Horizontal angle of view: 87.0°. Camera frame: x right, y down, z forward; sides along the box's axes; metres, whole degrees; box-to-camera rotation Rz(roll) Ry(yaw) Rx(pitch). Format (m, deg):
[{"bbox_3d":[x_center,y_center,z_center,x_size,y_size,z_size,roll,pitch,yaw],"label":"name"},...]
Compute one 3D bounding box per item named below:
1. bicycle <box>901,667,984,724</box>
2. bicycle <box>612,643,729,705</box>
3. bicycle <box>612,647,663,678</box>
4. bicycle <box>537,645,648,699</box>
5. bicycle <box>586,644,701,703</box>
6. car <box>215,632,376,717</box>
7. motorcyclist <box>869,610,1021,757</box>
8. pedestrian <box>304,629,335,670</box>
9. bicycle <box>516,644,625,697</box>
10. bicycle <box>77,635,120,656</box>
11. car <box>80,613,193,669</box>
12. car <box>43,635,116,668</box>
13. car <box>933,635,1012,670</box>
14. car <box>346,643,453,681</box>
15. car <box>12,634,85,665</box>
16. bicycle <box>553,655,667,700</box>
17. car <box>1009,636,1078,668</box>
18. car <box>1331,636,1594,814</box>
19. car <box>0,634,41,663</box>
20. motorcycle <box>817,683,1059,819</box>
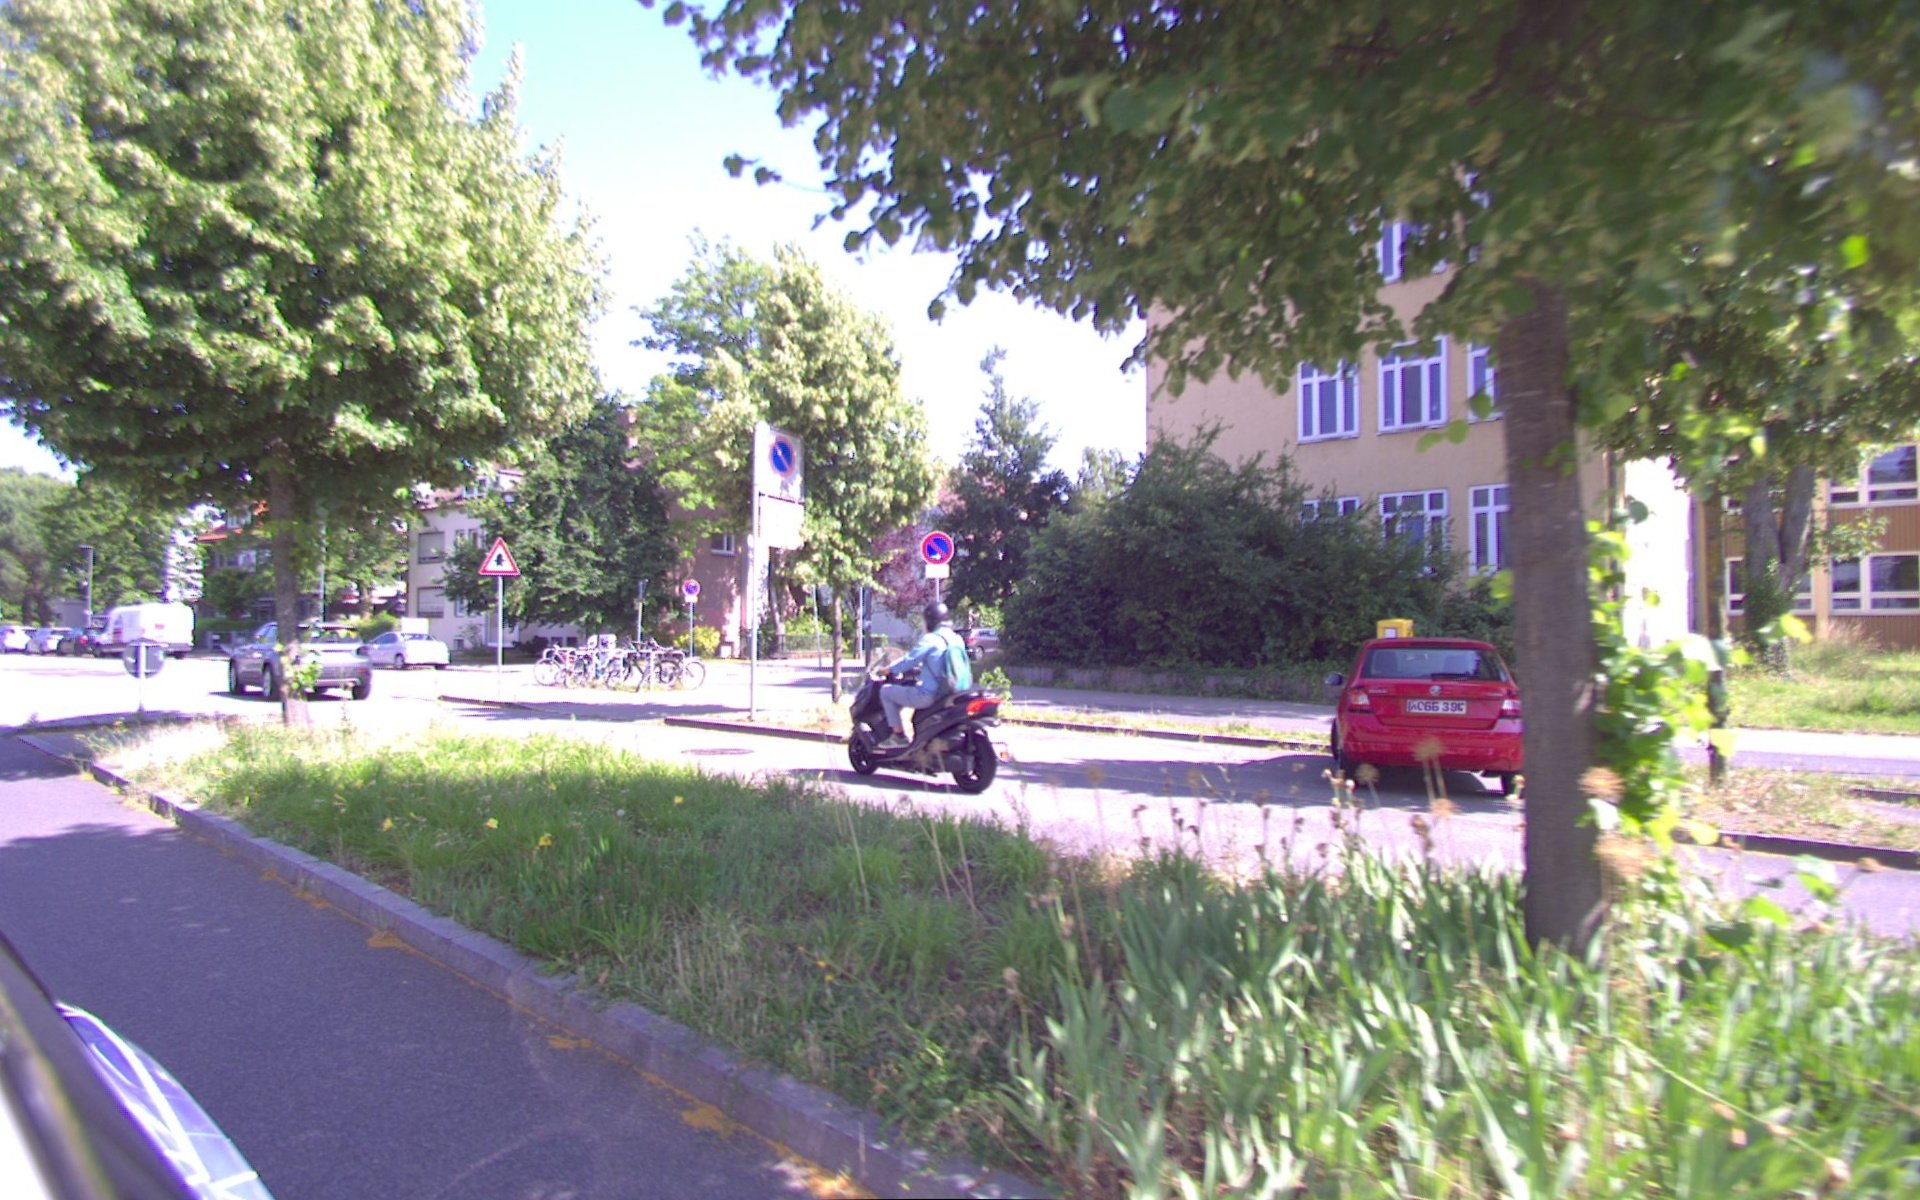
[{"bbox_3d":[-0.311,1.654,17.635,1.400,0.910,0.516,-1,-3,36],"label":"bicycle"},{"bbox_3d":[-6.304,1.590,22.198,0.738,1.266,2.520,-2,-3,38],"label":"bicycle"},{"bbox_3d":[-11.402,2.210,35.784,1.689,1.089,0.378,0,-3,-8],"label":"bicycle"},{"bbox_3d":[-8.911,1.737,24.657,0.738,1.249,2.520,-2,-4,38],"label":"bicycle"},{"bbox_3d":[-7.142,1.644,22.966,0.738,1.266,2.491,-2,-4,38],"label":"bicycle"},{"bbox_3d":[-13.589,1.453,20.611,4.072,1.559,1.723,-1,-4,42],"label":"car"},{"bbox_3d":[-0.138,0.718,9.174,1.061,1.230,0.891,-2,-3,42],"label":"motorcyclist"},{"bbox_3d":[-28.608,2.195,45.190,0.724,1.793,0.964,-2,-3,37],"label":"pedestrian"},{"bbox_3d":[-9.712,1.751,25.342,0.738,1.266,2.520,-2,-4,38],"label":"bicycle"},{"bbox_3d":[-58.760,3.109,69.031,0.501,1.394,2.157,-2,-4,29],"label":"bicycle"},{"bbox_3d":[-38.816,1.970,47.685,5.928,2.516,2.074,-2,-4,30],"label":"car"},{"bbox_3d":[-43.956,2.587,50.510,3.988,1.571,1.706,-2,-4,33],"label":"car"},{"bbox_3d":[0.613,2.451,47.150,1.746,1.564,3.747,-2,-3,38],"label":"car"},{"bbox_3d":[-20.128,2.205,36.297,3.988,1.276,1.706,-2,-4,33],"label":"car"},{"bbox_3d":[-48.005,2.621,53.261,4.659,1.571,1.706,-2,-4,33],"label":"car"},{"bbox_3d":[-8.151,1.800,23.695,0.738,0.995,2.520,-2,-4,38],"label":"bicycle"},{"bbox_3d":[4.309,2.634,51.733,1.746,1.564,3.747,-2,-3,38],"label":"car"},{"bbox_3d":[5.006,1.160,10.665,1.985,1.478,3.973,-1,-3,20],"label":"car"},{"bbox_3d":[-53.240,2.730,56.617,3.988,1.571,1.706,-2,-4,33],"label":"car"},{"bbox_3d":[-0.249,1.330,9.382,2.234,1.000,0.913,-2,-2,42],"label":"motorcycle"}]
